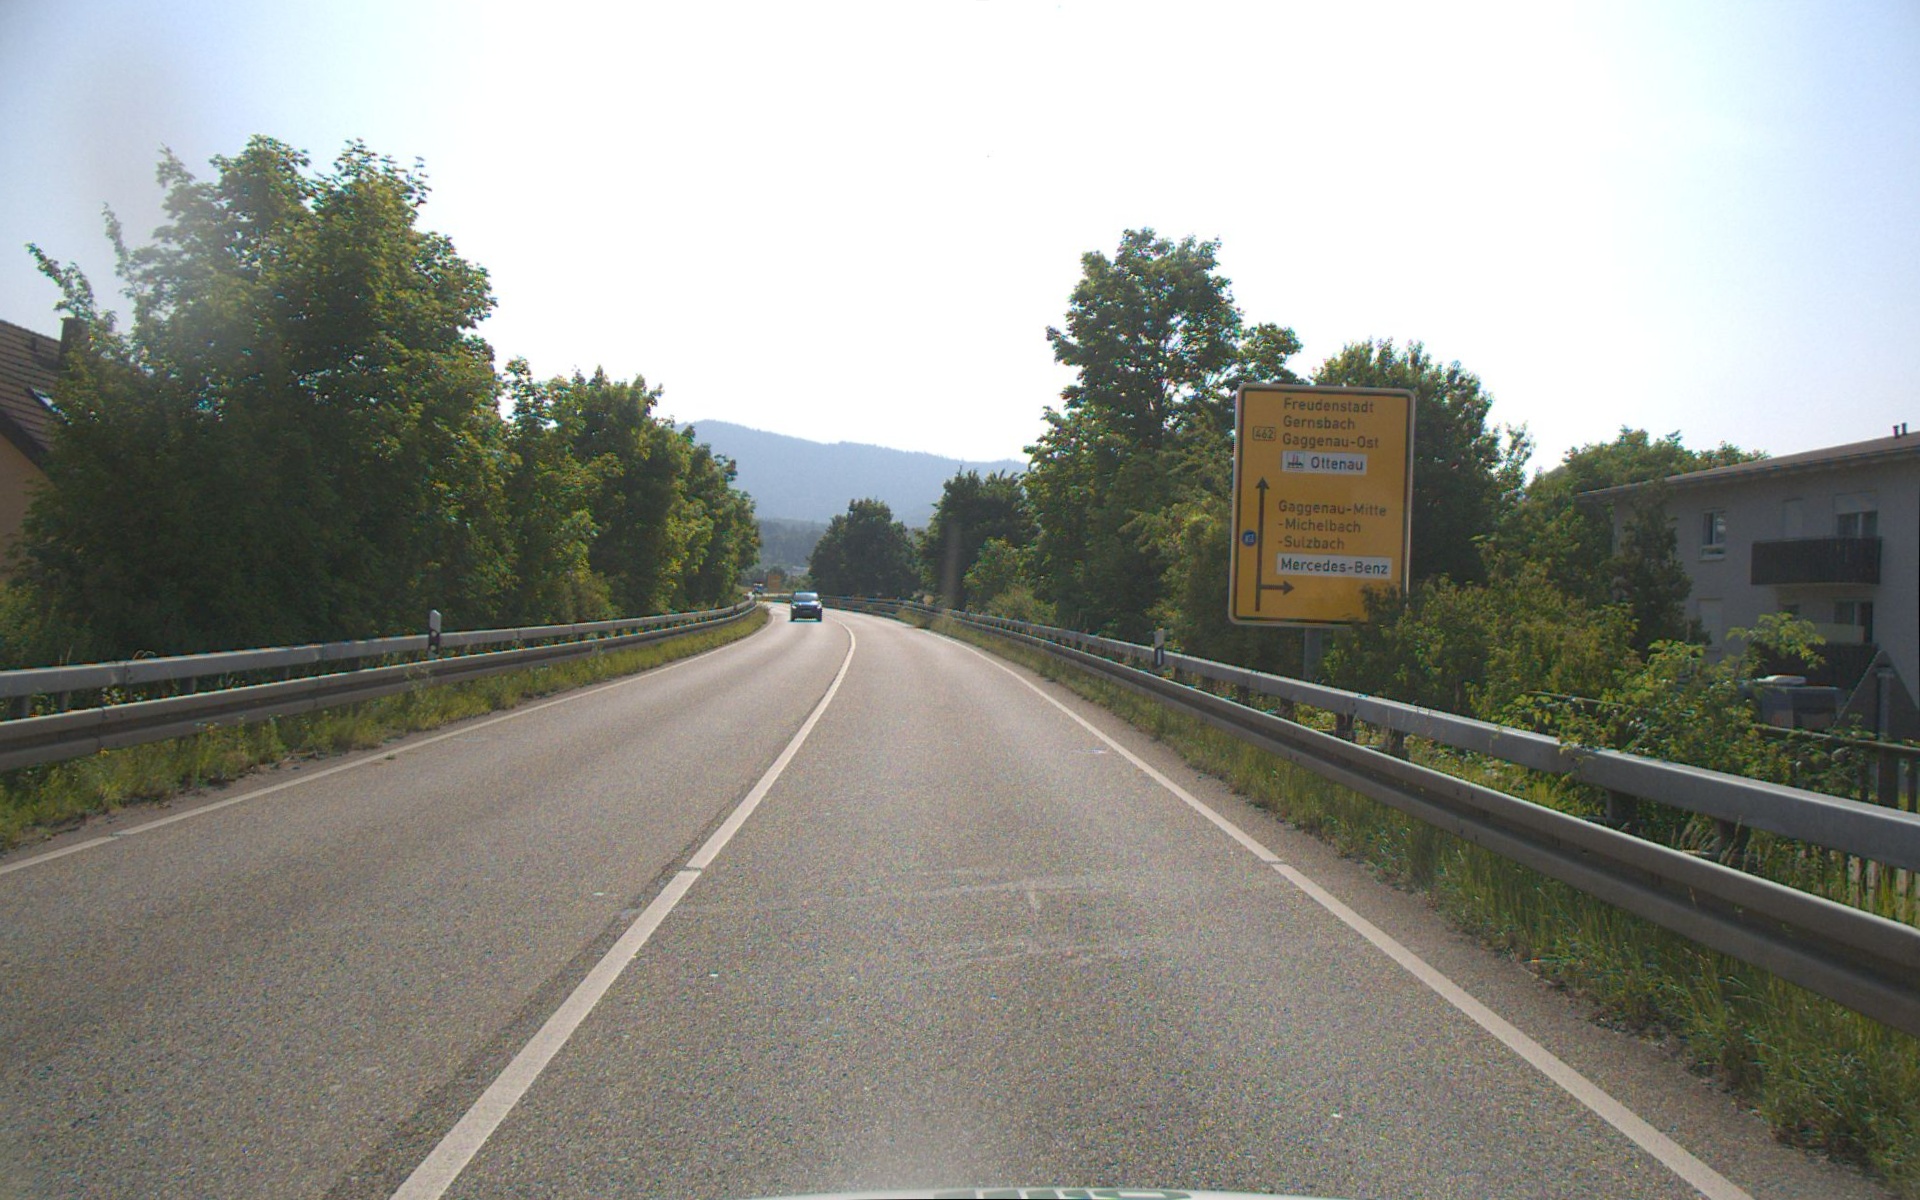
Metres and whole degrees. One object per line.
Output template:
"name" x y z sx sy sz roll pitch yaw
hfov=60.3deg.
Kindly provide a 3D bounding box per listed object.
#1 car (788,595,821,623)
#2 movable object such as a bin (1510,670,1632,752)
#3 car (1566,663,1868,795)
"car" -8.771 0.495 93.637 1.772 1.588 3.989 0 0 -4
"movable object such as a bin" 16.951 3.063 45.965 2.728 2.048 1.587 3 0 -2
"car" 17.423 2.957 38.273 5.951 2.735 2.311 2 -3 -2
